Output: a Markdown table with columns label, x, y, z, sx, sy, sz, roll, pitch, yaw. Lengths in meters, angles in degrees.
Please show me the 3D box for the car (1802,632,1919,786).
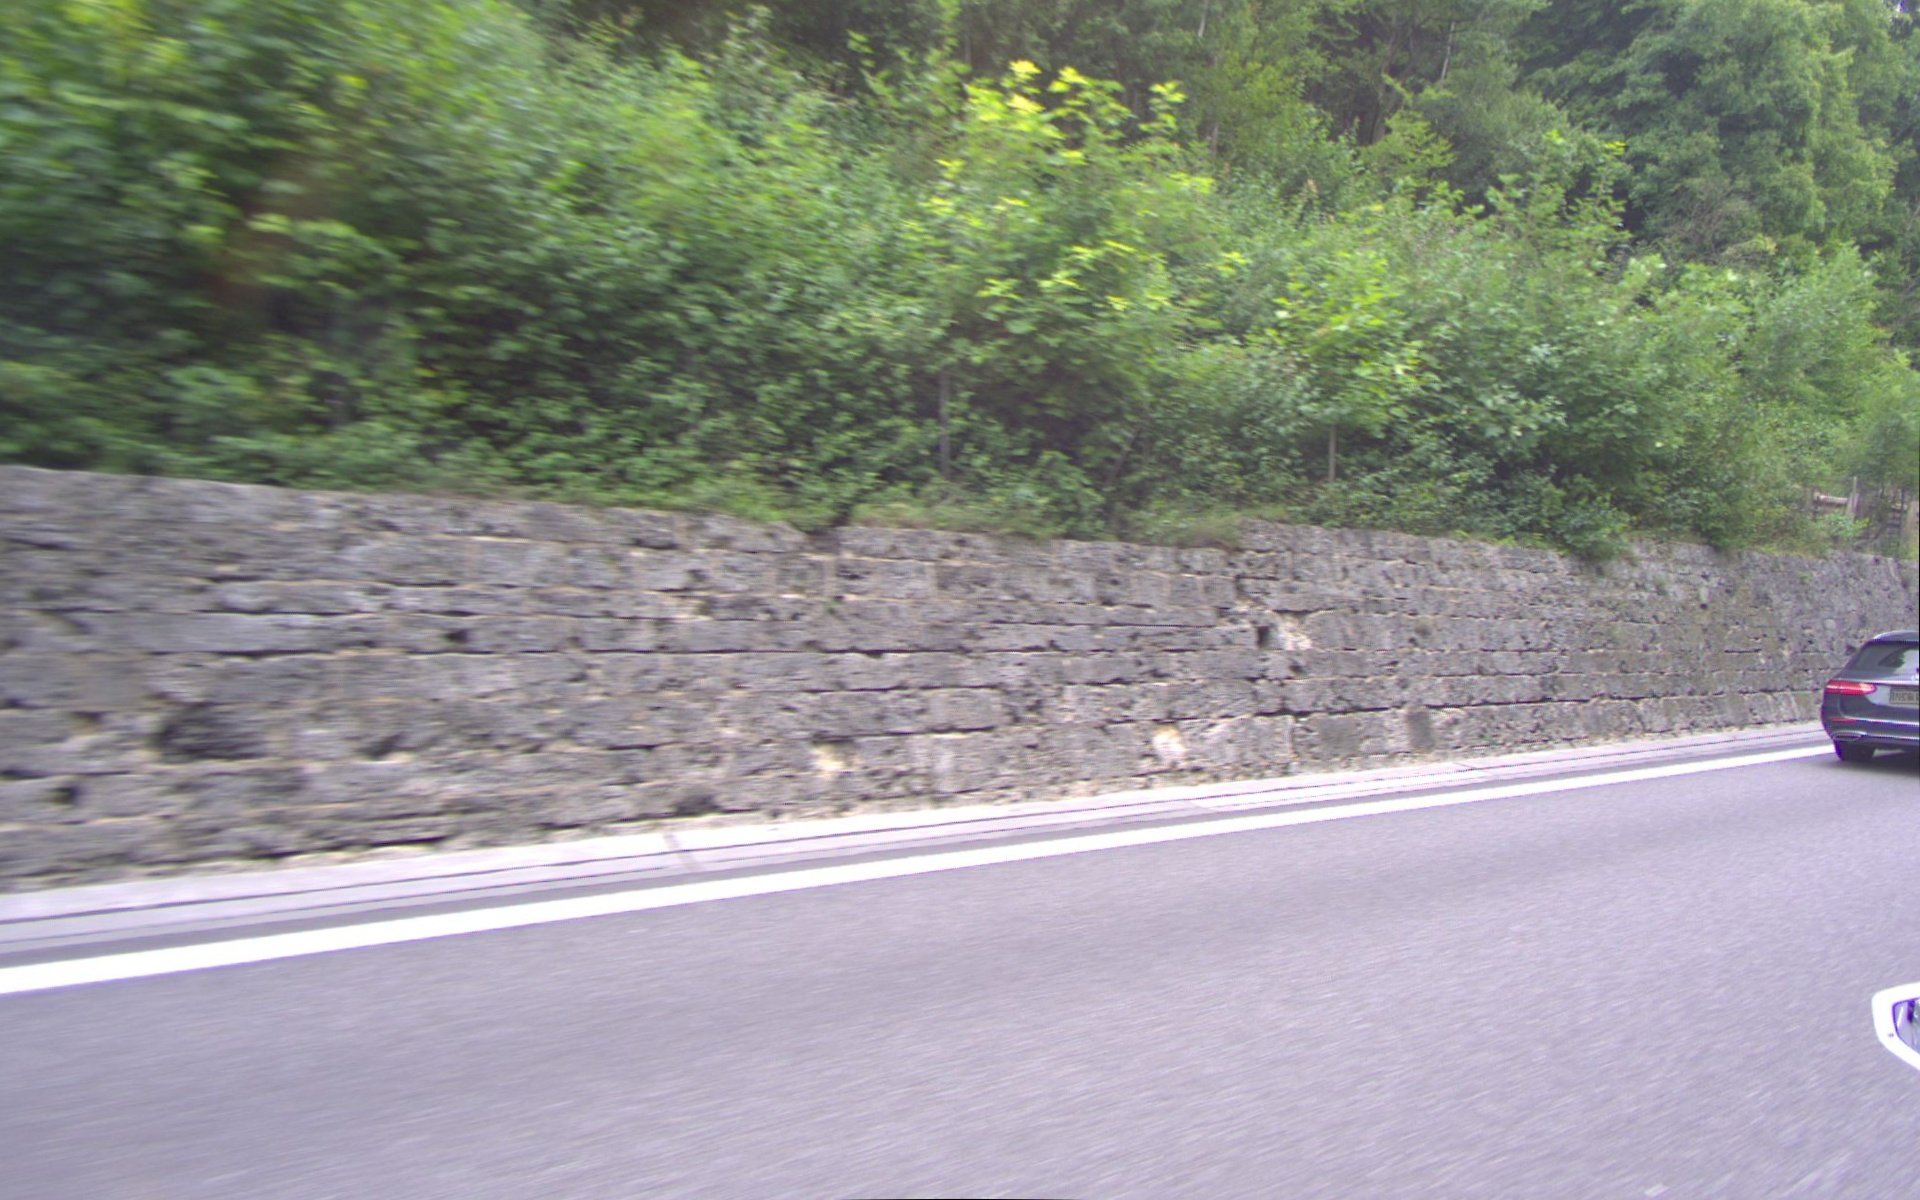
| label | x | y | z | sx | sy | sz | roll | pitch | yaw |
| --- | --- | --- | --- | --- | --- | --- | --- | --- | --- |
| car | 11.579 | 1.134 | 11.274 | 5.064 | 1.483 | 1.751 | 1 | 0 | -32 |
